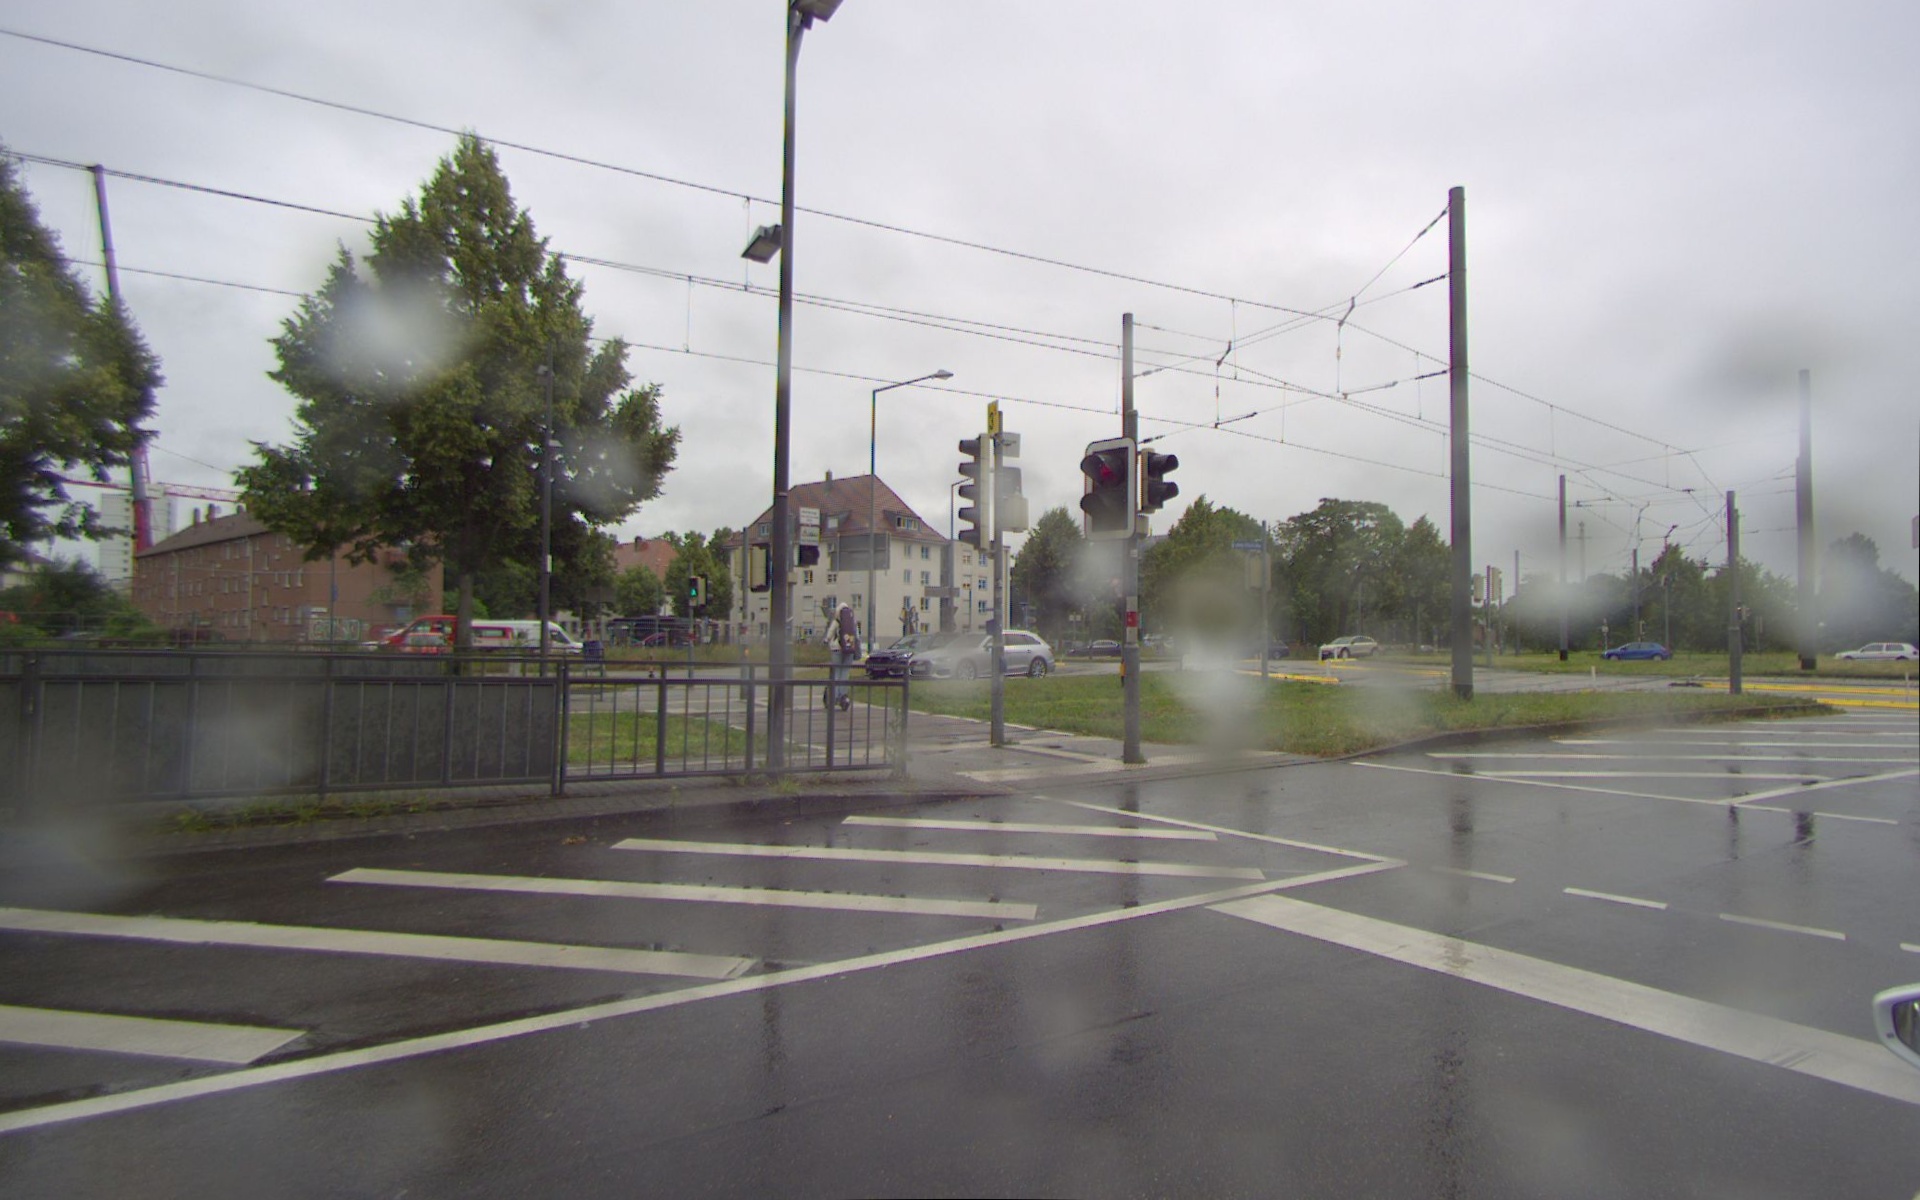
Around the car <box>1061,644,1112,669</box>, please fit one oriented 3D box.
[{"bbox_3d":[8.980,3.991,71.353,3.413,1.563,1.623,2,0,4],"label":"car"}]

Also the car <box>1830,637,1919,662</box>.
[{"bbox_3d":[55.935,2.999,61.412,1.610,1.473,3.942,2,-2,-39],"label":"car"}]

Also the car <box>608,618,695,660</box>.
[{"bbox_3d":[-30.363,3.784,98.427,10.793,3.770,2.447,0,-2,39],"label":"car"}]

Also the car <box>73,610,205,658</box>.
[{"bbox_3d":[-45.429,1.916,55.781,5.441,2.485,1.980,3,0,-36],"label":"car"}]

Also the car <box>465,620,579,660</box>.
[{"bbox_3d":[-25.903,2.348,59.633,6.004,2.308,1.617,1,-2,-18],"label":"car"}]

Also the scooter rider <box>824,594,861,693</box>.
[{"bbox_3d":[-2.109,0.787,18.009,0.431,1.731,0.526,2,-4,-43],"label":"scooter rider"}]

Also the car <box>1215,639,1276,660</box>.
[{"bbox_3d":[20.551,3.538,72.308,3.911,1.473,1.623,0,-2,-5],"label":"car"}]

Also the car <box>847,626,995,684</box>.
[{"bbox_3d":[-1.148,1.659,31.185,4.371,1.649,1.975,2,-2,-42],"label":"car"}]

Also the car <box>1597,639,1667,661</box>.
[{"bbox_3d":[47.211,3.491,70.638,3.914,1.473,1.622,-1,-2,27],"label":"car"}]

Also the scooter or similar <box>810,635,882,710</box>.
[{"bbox_3d":[-2.055,1.271,17.941,0.444,1.276,1.571,1,-3,-42],"label":"scooter or similar"}]

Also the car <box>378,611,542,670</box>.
[{"bbox_3d":[-22.254,1.818,44.998,6.389,2.502,1.616,1,-2,-20],"label":"car"}]

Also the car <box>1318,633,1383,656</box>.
[{"bbox_3d":[25.081,2.857,64.547,4.059,1.473,1.613,1,-2,-27],"label":"car"}]

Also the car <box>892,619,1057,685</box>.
[{"bbox_3d":[0.467,1.378,27.441,4.371,1.649,1.975,2,-2,-42],"label":"car"}]
